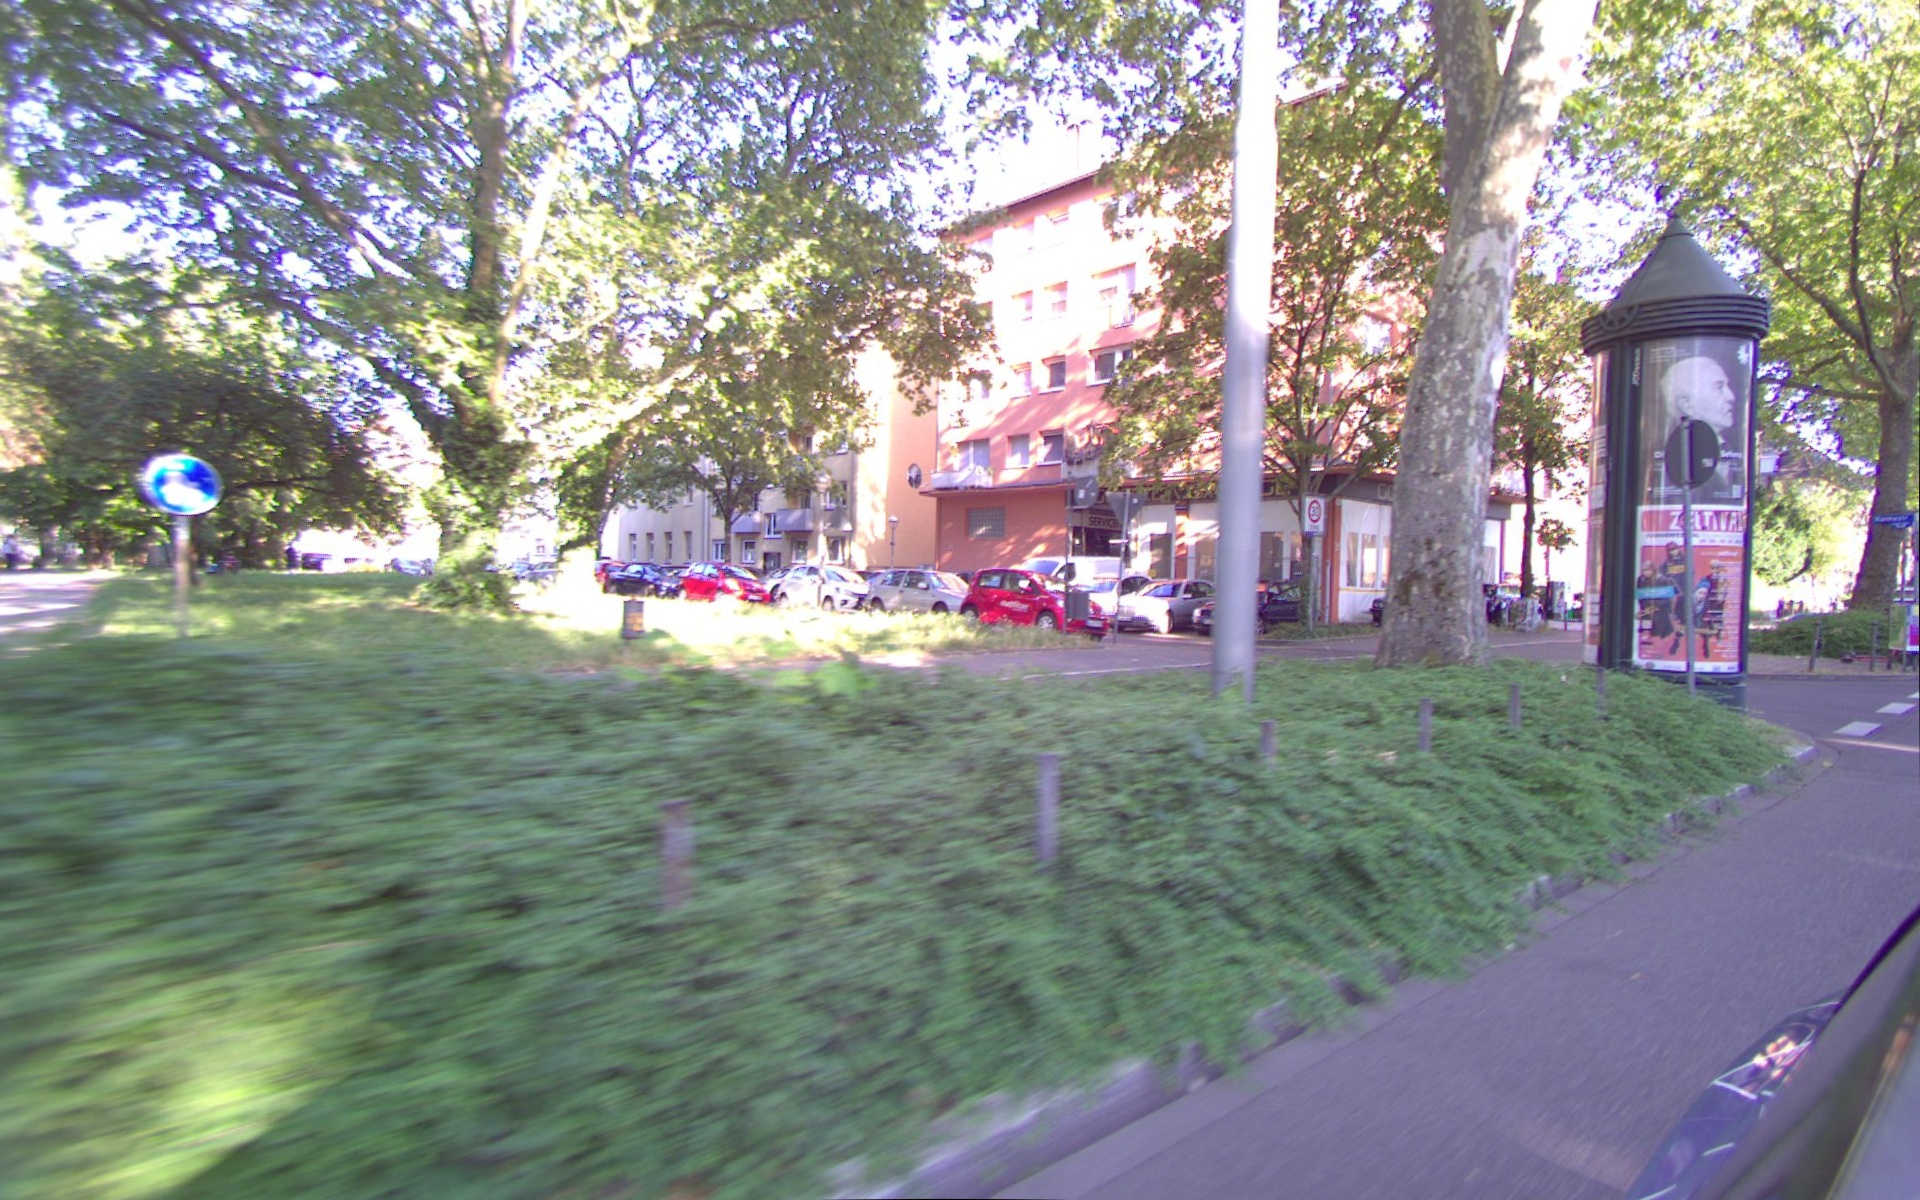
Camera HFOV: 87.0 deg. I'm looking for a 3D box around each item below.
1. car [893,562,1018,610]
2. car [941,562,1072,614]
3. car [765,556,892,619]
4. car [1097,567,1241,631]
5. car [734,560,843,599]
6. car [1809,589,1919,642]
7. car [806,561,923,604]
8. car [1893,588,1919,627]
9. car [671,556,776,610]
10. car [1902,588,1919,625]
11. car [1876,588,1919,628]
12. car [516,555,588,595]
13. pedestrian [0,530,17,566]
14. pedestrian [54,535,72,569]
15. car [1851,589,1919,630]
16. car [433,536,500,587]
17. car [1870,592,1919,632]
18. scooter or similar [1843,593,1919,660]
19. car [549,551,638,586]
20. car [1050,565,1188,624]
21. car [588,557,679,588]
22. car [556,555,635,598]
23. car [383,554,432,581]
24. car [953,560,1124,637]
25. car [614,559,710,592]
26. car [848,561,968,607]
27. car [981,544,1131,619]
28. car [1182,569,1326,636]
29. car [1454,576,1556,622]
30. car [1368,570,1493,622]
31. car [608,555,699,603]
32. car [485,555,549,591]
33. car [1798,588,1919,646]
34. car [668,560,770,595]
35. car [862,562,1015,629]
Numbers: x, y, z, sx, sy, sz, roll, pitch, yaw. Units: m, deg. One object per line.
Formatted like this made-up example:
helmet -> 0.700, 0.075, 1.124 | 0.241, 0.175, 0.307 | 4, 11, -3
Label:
car -> -0.111, -0.496, 36.273 | 4.502, 1.594, 1.791 | 0, 2, -44
car -> 1.634, -0.402, 34.096 | 4.502, 1.594, 1.791 | 0, 2, -44
car -> -3.804, -0.394, 28.871 | 1.655, 1.601, 3.925 | 0, 2, -42
car -> 5.922, -0.051, 28.352 | 1.790, 1.594, 4.505 | 3, 2, 44
car -> -7.491, -0.867, 44.517 | 4.502, 1.594, 1.791 | 0, 2, -44
car -> 29.848, 0.501, 31.884 | 1.916, 1.562, 4.416 | 0, 2, -37
car -> -3.743, -0.673, 40.133 | 4.502, 1.594, 1.791 | 0, 2, -44
car -> 42.876, 0.384, 43.270 | 1.847, 1.639, 4.206 | 0, 2, -42
car -> -7.809, -0.591, 33.186 | 1.655, 1.601, 3.925 | 0, 2, -42
car -> 44.910, 0.376, 44.973 | 1.784, 1.639, 4.212 | 0, 2, -37
car -> 41.015, 0.382, 41.955 | 1.784, 1.593, 4.212 | 0, 2, -37
car -> -17.673, -1.117, 43.794 | 1.655, 1.601, 3.925 | 0, 2, -42
pedestrian -> -45.330, -2.476, 48.140 | 0.638, 1.682, 0.649 | 0, 2, -40
pedestrian -> -44.994, -2.420, 50.775 | 0.638, 1.682, 0.649 | 0, 2, -40
car -> 38.978, 0.412, 40.887 | 1.784, 1.575, 4.212 | 0, 2, -37
car -> -26.520, -2.080, 54.308 | 1.942, 2.594, 5.038 | 0, 2, -42
car -> 37.666, 0.506, 38.579 | 1.785, 1.465, 4.209 | 0, 2, -40
scooter or similar -> 18.652, 0.510, 20.386 | 0.560, 1.255, 1.210 | 0, 3, -41
car -> -21.335, -1.832, 58.994 | 4.502, 1.930, 1.791 | 0, 2, -44
car -> 4.887, -0.177, 30.682 | 4.502, 1.594, 1.791 | 0, 2, -44
car -> -18.077, -1.523, 56.150 | 4.502, 1.594, 1.791 | 0, 2, -44
car -> -14.672, -0.968, 40.616 | 1.655, 1.601, 3.925 | 0, 2, -42
car -> -34.084, -1.999, 62.405 | 1.769, 1.529, 3.994 | 0, 2, -42
car -> 1.645, -0.087, 22.055 | 1.655, 1.470, 3.544 | 0, 2, -42
car -> -15.675, -1.270, 53.364 | 4.502, 1.594, 1.791 | 0, 2, -44
car -> -1.923, -0.596, 38.606 | 4.502, 1.594, 1.791 | 0, 2, -44
car -> 3.147, -0.574, 32.320 | 4.999, 2.211, 1.914 | 0, 2, -43
car -> 7.969, 0.042, 27.193 | 1.790, 1.594, 4.505 | 3, 2, 44
car -> 18.804, -0.049, 34.860 | 3.880, 1.452, 1.753 | 0, 3, -40
car -> 14.460, -0.126, 30.990 | 4.388, 1.452, 1.753 | 0, 3, -40
car -> -11.163, -0.789, 36.664 | 1.655, 1.601, 3.925 | 0, 2, -42
car -> -21.003, -1.292, 47.914 | 1.655, 1.601, 3.925 | 0, 2, -42
car -> 28.025, 0.516, 30.098 | 1.782, 1.562, 4.421 | 1, 2, -33
car -> -11.600, -1.069, 48.965 | 4.502, 1.594, 1.791 | 0, 2, -44
car -> -0.612, -0.167, 25.280 | 1.655, 1.470, 3.925 | 0, 2, -42
